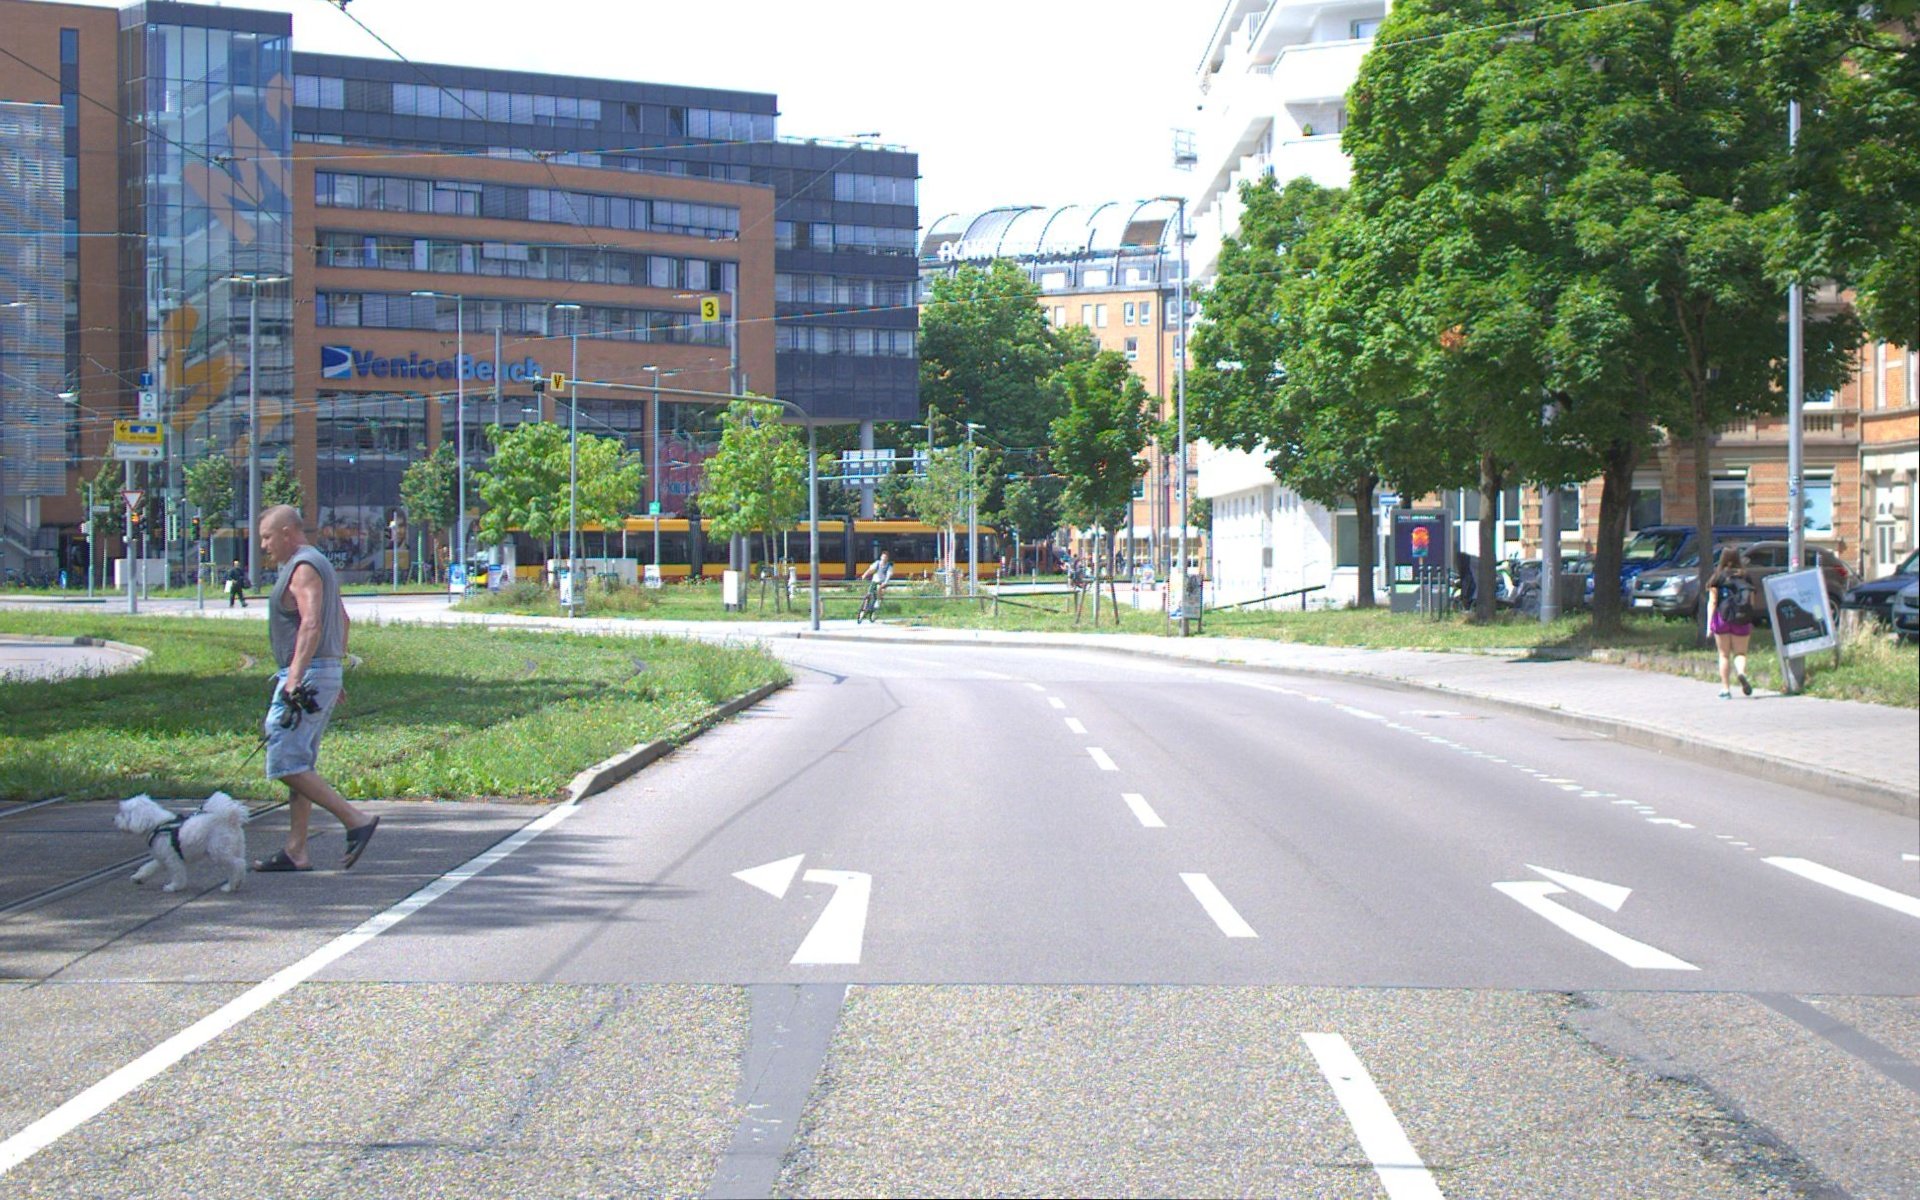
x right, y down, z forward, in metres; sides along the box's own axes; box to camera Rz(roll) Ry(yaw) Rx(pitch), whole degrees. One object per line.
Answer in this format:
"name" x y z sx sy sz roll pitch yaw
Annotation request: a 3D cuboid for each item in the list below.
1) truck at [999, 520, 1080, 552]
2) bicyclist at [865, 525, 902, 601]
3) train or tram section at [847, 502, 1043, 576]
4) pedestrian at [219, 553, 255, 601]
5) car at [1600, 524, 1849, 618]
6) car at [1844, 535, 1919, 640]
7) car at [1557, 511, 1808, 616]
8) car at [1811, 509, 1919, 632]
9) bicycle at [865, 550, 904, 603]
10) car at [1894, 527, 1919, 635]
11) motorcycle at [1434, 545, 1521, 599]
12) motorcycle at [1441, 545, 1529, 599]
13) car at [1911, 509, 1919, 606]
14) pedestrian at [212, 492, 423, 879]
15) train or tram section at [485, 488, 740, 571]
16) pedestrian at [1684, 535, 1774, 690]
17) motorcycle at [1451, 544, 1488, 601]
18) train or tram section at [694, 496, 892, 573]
"truck" 5.350 -4.330 232.285 5.519 2.078 1.995 2 1 43
"bicyclist" -1.873 -0.917 84.387 0.694 1.818 0.956 -2 2 8
"train or tram section" -0.674 -3.165 180.403 3.062 3.608 12.607 1 1 38
"pedestrian" -25.518 -0.815 121.317 0.917 1.696 0.807 0 1 25
"car" 14.087 -0.528 63.332 4.160 1.650 1.917 1 0 -26
"car" 14.341 -0.148 47.572 4.072 1.401 1.852 1 1 -35
"car" 13.953 -0.692 66.321 4.614 1.921 1.917 1 0 -31
"car" 14.765 -0.412 50.735 4.136 1.735 1.852 1 1 -30
"bicycle" -1.850 -0.584 84.373 0.694 1.238 1.839 -2 2 5
"car" 14.369 -0.205 44.357 4.678 1.375 1.852 1 1 -34
"motorcycle" 11.285 -0.618 74.945 1.783 1.163 0.640 0 1 -1
"motorcycle" 11.311 -0.610 74.089 1.783 1.163 0.640 0 1 -1
"car" 22.387 -0.904 74.419 2.111 2.171 5.394 1 0 0
"pedestrian" -2.905 0.376 15.594 0.781 1.698 0.702 1 0 2
"train or tram section" -16.238 -3.283 162.014 3.224 3.587 13.468 1 1 40
"pedestrian" 8.031 0.123 35.931 0.700 1.586 0.905 1 0 -1
"motorcycle" 10.601 -0.571 71.470 0.638 1.163 1.905 0 1 12
"train or tram section" -8.241 -3.226 171.353 3.062 3.591 10.966 1 1 41
